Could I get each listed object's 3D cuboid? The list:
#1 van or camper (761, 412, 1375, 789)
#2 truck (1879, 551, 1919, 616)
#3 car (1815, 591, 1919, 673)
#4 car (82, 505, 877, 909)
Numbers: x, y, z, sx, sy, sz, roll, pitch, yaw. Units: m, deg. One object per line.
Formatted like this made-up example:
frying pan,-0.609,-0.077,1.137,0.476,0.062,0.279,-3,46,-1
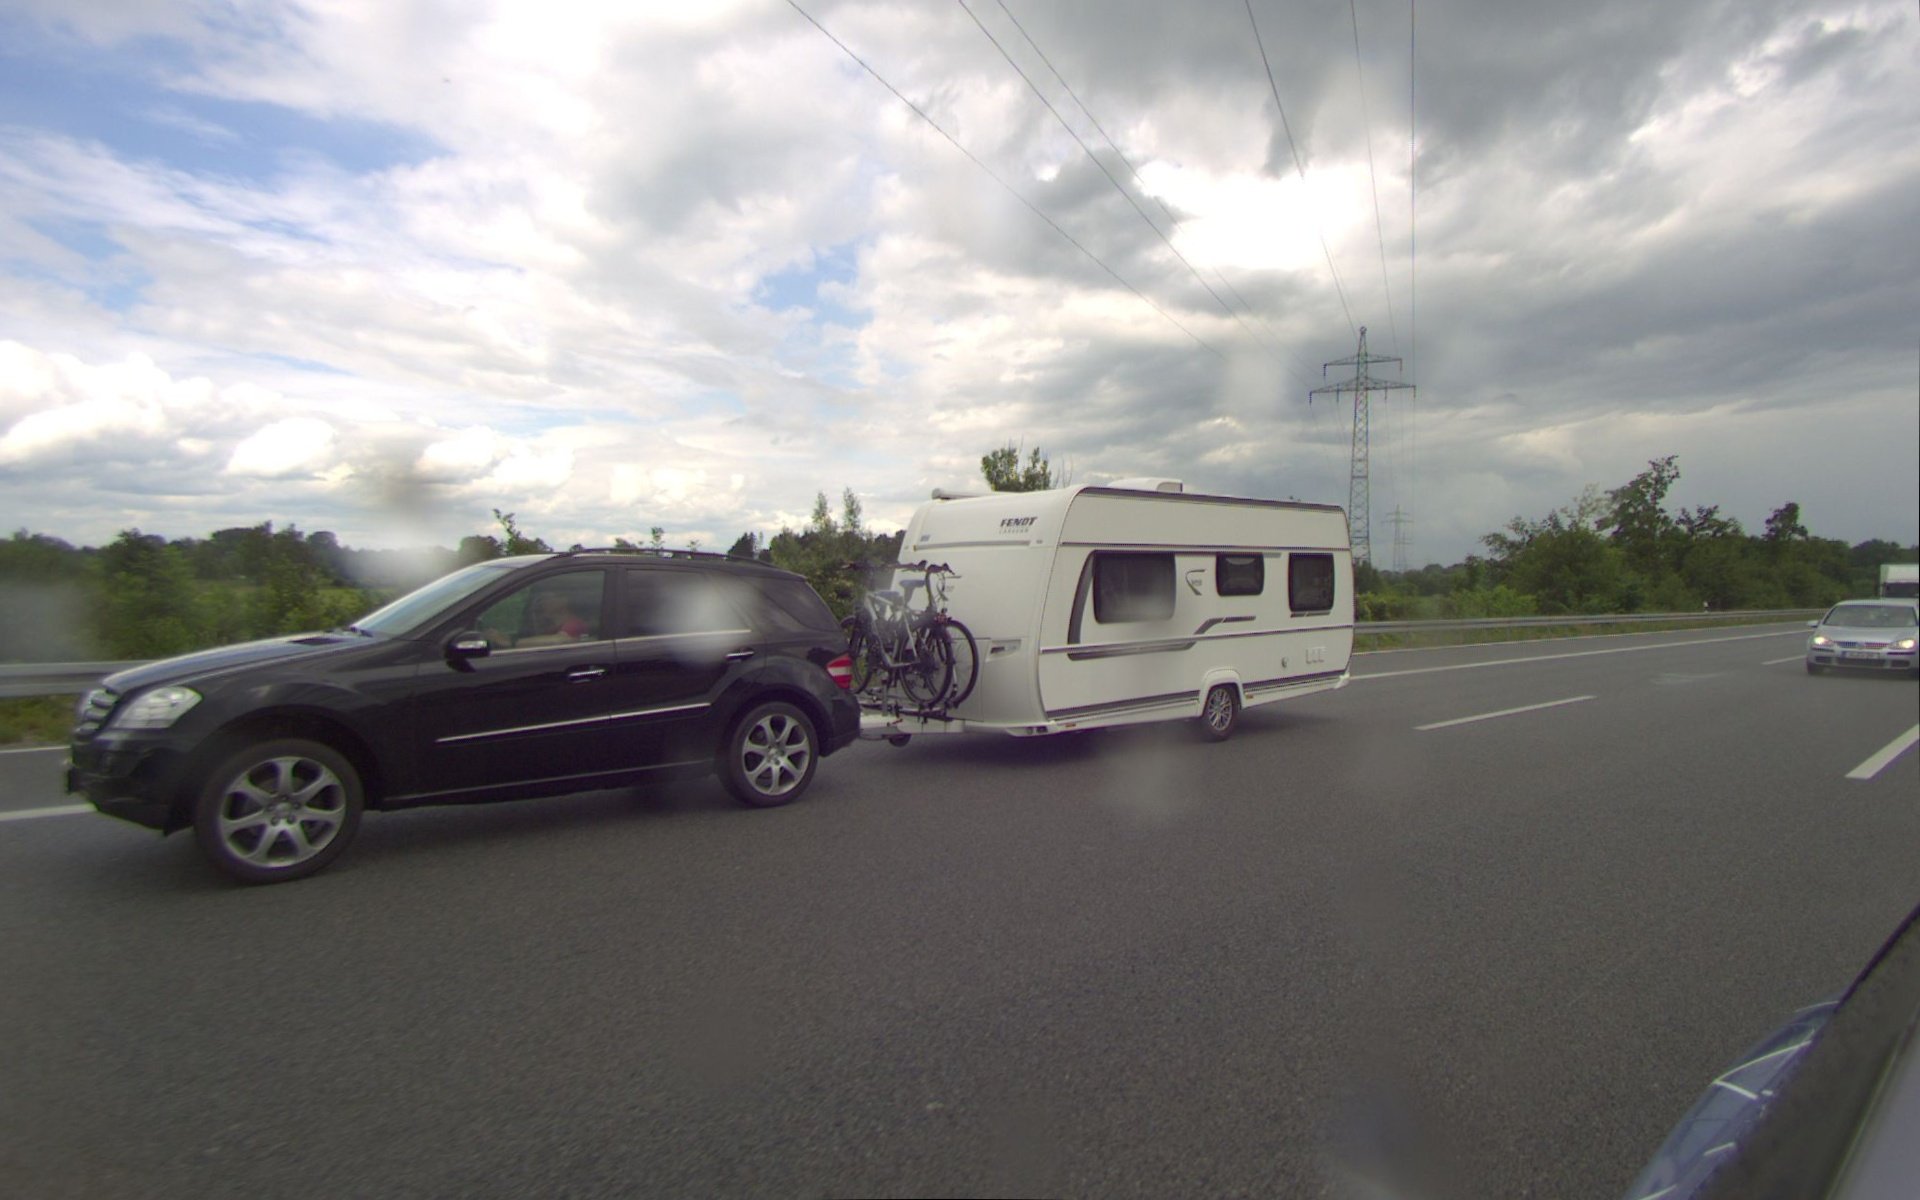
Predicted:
van or camper,1.593,-0.030,10.741,7.086,2.773,2.387,-1,0,-42
truck,58.042,-1.003,60.921,9.426,3.700,2.868,-1,0,-41
car,18.411,0.567,20.022,3.930,1.464,1.682,-1,1,-41
car,-2.879,0.447,6.717,4.426,1.798,1.922,-1,1,-43
